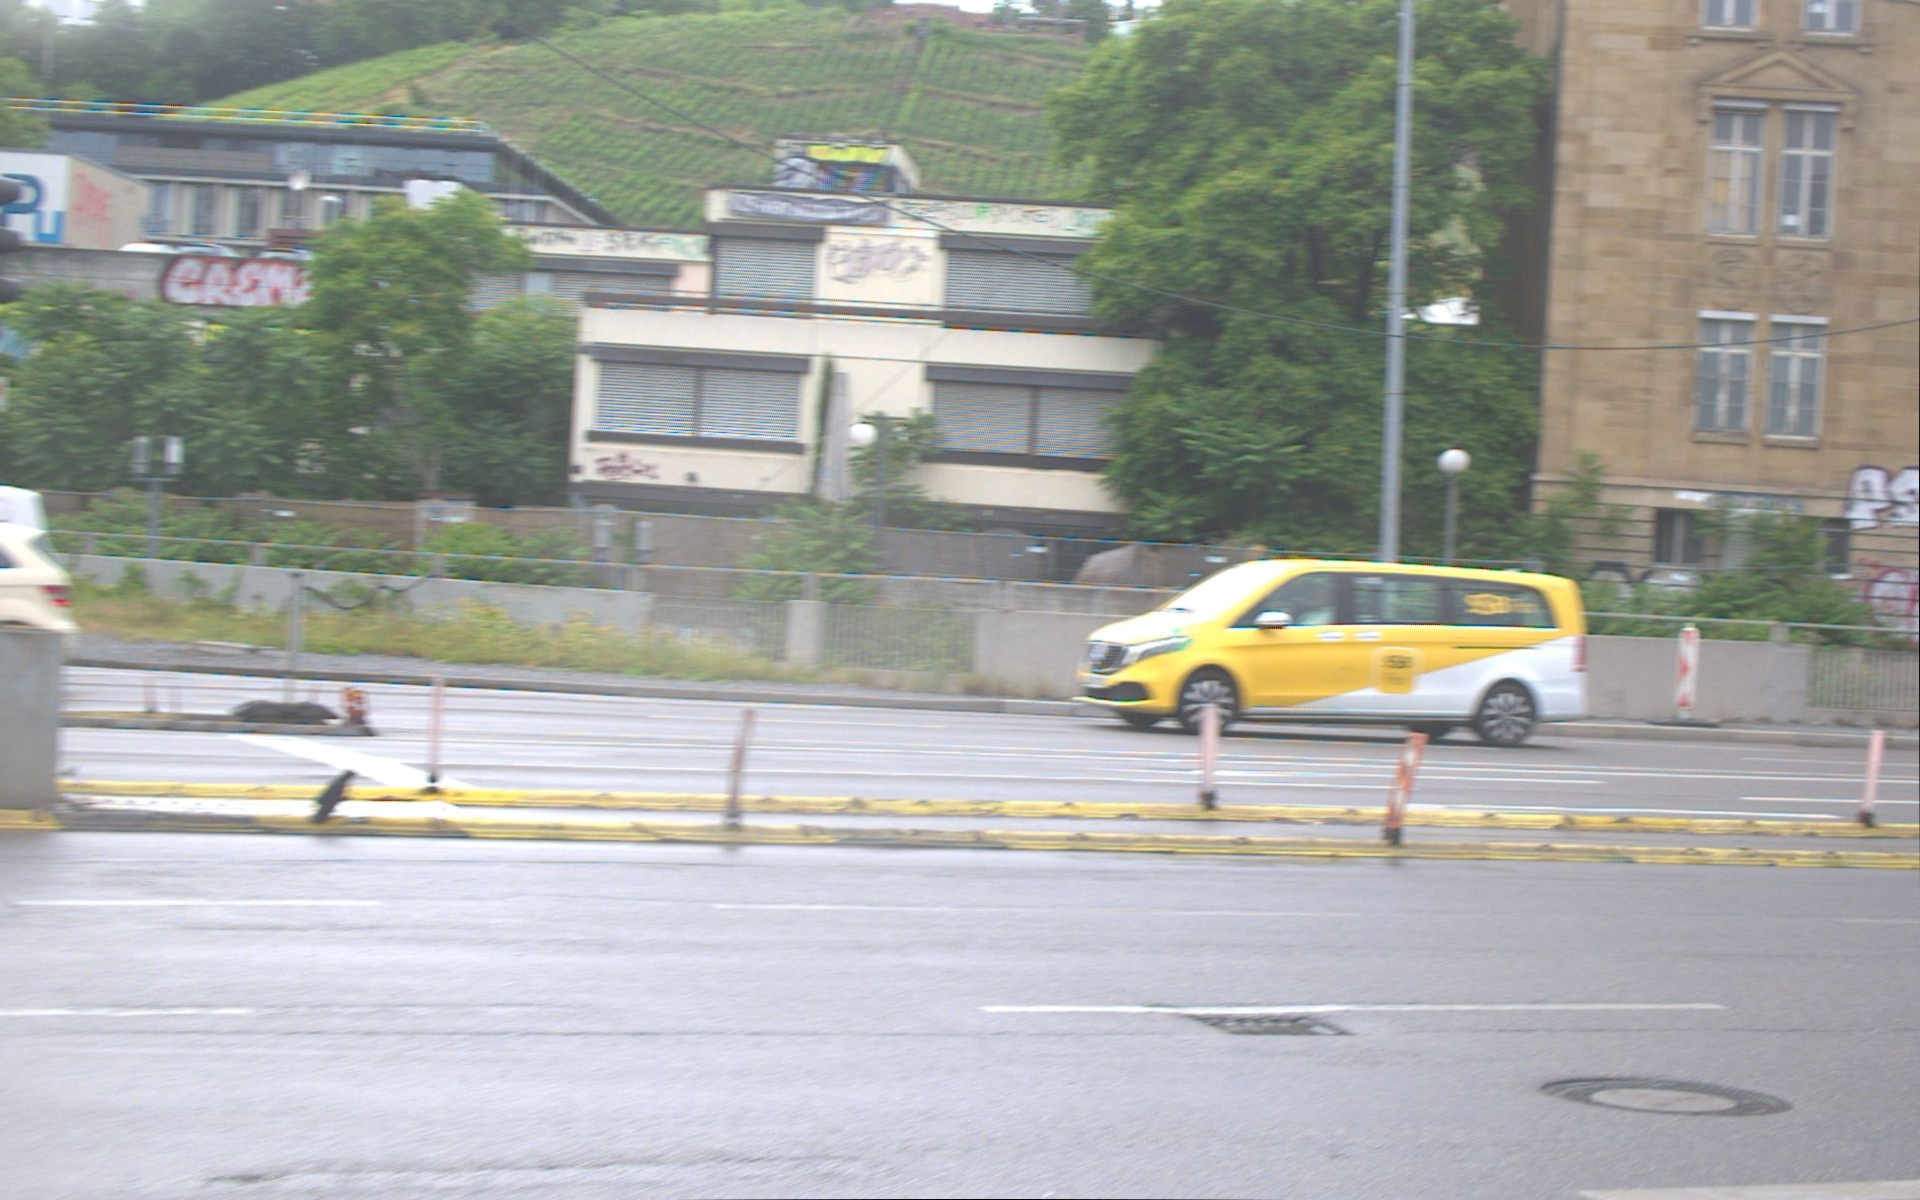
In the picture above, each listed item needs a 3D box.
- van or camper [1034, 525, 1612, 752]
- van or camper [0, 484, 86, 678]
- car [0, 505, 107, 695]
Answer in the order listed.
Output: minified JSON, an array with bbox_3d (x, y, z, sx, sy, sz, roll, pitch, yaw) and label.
[{"bbox_3d":[3.854,0.402,36.563,5.587,2.047,2.247,3,1,-20],"label":"van or camper"},{"bbox_3d":[-11.515,-0.328,34.073,5.194,1.887,1.888,3,1,-24],"label":"van or camper"},{"bbox_3d":[-10.146,-0.114,31.308,4.364,1.668,1.849,3,1,-20],"label":"car"}]
